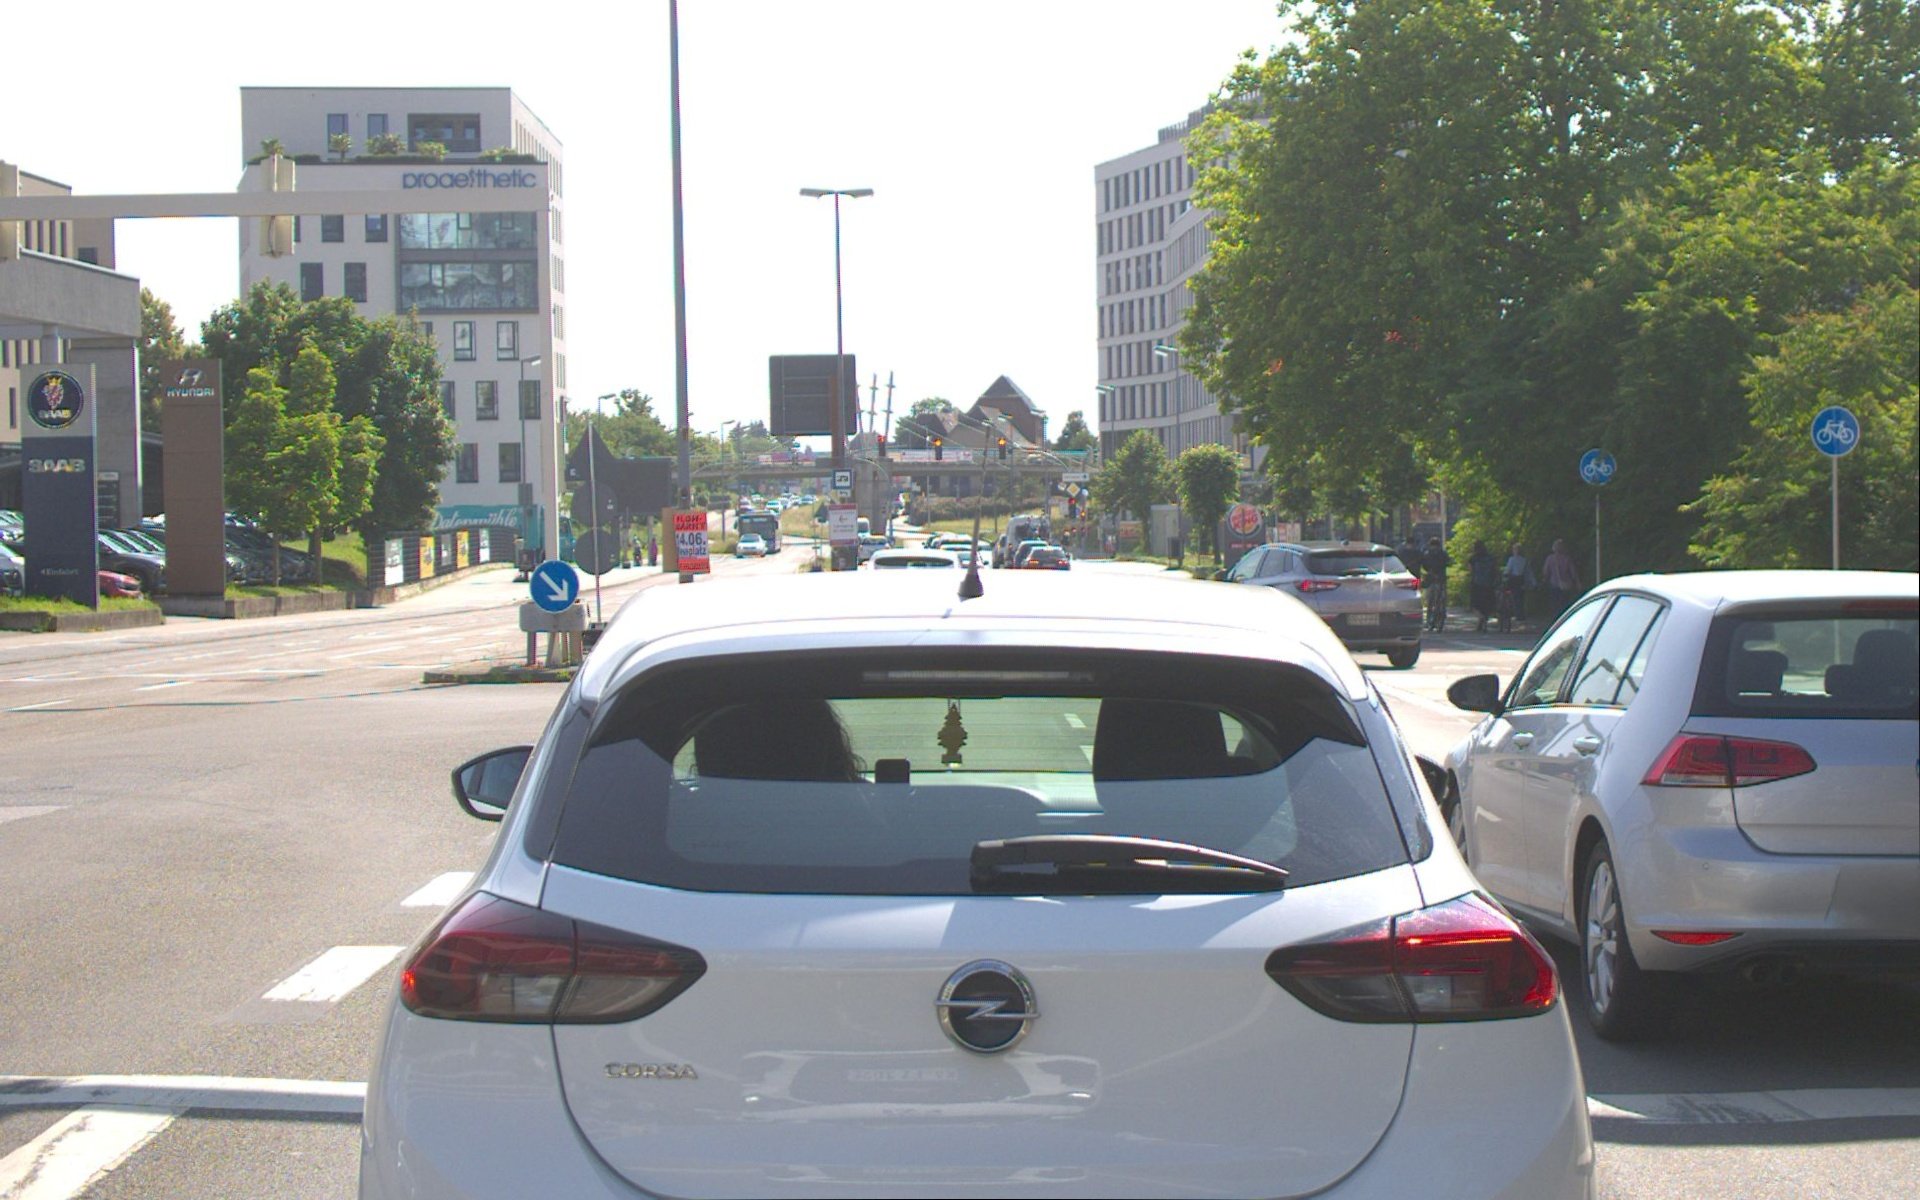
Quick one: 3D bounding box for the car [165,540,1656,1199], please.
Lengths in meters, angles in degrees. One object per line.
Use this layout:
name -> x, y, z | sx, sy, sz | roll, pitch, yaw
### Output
car -> -0.077, 0.649, 6.125 | 1.779, 1.489, 4.000 | -1, 1, -1

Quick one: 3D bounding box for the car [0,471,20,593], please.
car -> -22.415, -1.416, 72.884 | 4.357, 2.592, 2.000 | -1, 1, 5

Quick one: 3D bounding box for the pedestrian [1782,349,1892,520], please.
pedestrian -> 10.528, -1.978, 41.294 | 1.027, 2.007, 1.039 | -1, 1, -1

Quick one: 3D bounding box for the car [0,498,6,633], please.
car -> -21.332, -0.644, 67.543 | 4.498, 2.675, 2.128 | -1, 1, 8

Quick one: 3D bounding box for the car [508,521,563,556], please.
car -> -17.504, -2.533, 141.976 | 1.806, 1.381, 4.000 | 1, 0, -1

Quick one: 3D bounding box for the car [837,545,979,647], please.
car -> -0.821, -0.083, 51.048 | 1.993, 1.442, 4.371 | 0, 1, -2

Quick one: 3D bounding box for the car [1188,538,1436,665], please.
car -> 4.520, -0.017, 44.836 | 1.993, 1.546, 4.435 | -1, 1, -11

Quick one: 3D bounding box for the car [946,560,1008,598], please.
car -> 0.596, -0.748, 124.222 | 1.993, 1.327, 4.000 | 1, 0, -3

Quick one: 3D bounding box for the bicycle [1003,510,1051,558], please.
bicycle -> 3.013, -2.973, 155.381 | 1.993, 2.150, 4.000 | -1, 1, -1

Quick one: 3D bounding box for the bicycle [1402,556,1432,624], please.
bicycle -> 8.302, -0.184, 62.472 | 0.372, 1.212, 1.154 | 1, 1, 0

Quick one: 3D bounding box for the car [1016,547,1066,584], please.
car -> 3.187, -1.346, 135.109 | 1.806, 1.381, 4.000 | 1, 0, -1

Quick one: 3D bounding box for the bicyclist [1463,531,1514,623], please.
bicyclist -> 9.499, -0.423, 61.787 | 0.688, 1.637, 0.777 | -1, 1, -9

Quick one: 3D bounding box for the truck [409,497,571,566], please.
truck -> -27.102, -3.952, 198.099 | 9.058, 3.821, 3.082 | -1, 1, -10

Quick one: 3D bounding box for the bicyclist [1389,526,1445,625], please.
bicyclist -> 8.303, -0.446, 62.466 | 0.879, 1.766, 0.864 | -1, 1, 0

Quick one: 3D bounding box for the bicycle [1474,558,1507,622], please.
bicycle -> 9.521, -0.184, 61.723 | 0.373, 1.143, 1.034 | 1, 0, -2

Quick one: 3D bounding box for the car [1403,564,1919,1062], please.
car -> 2.729, 0.595, 11.930 | 1.807, 1.424, 4.000 | -1, 0, -1
